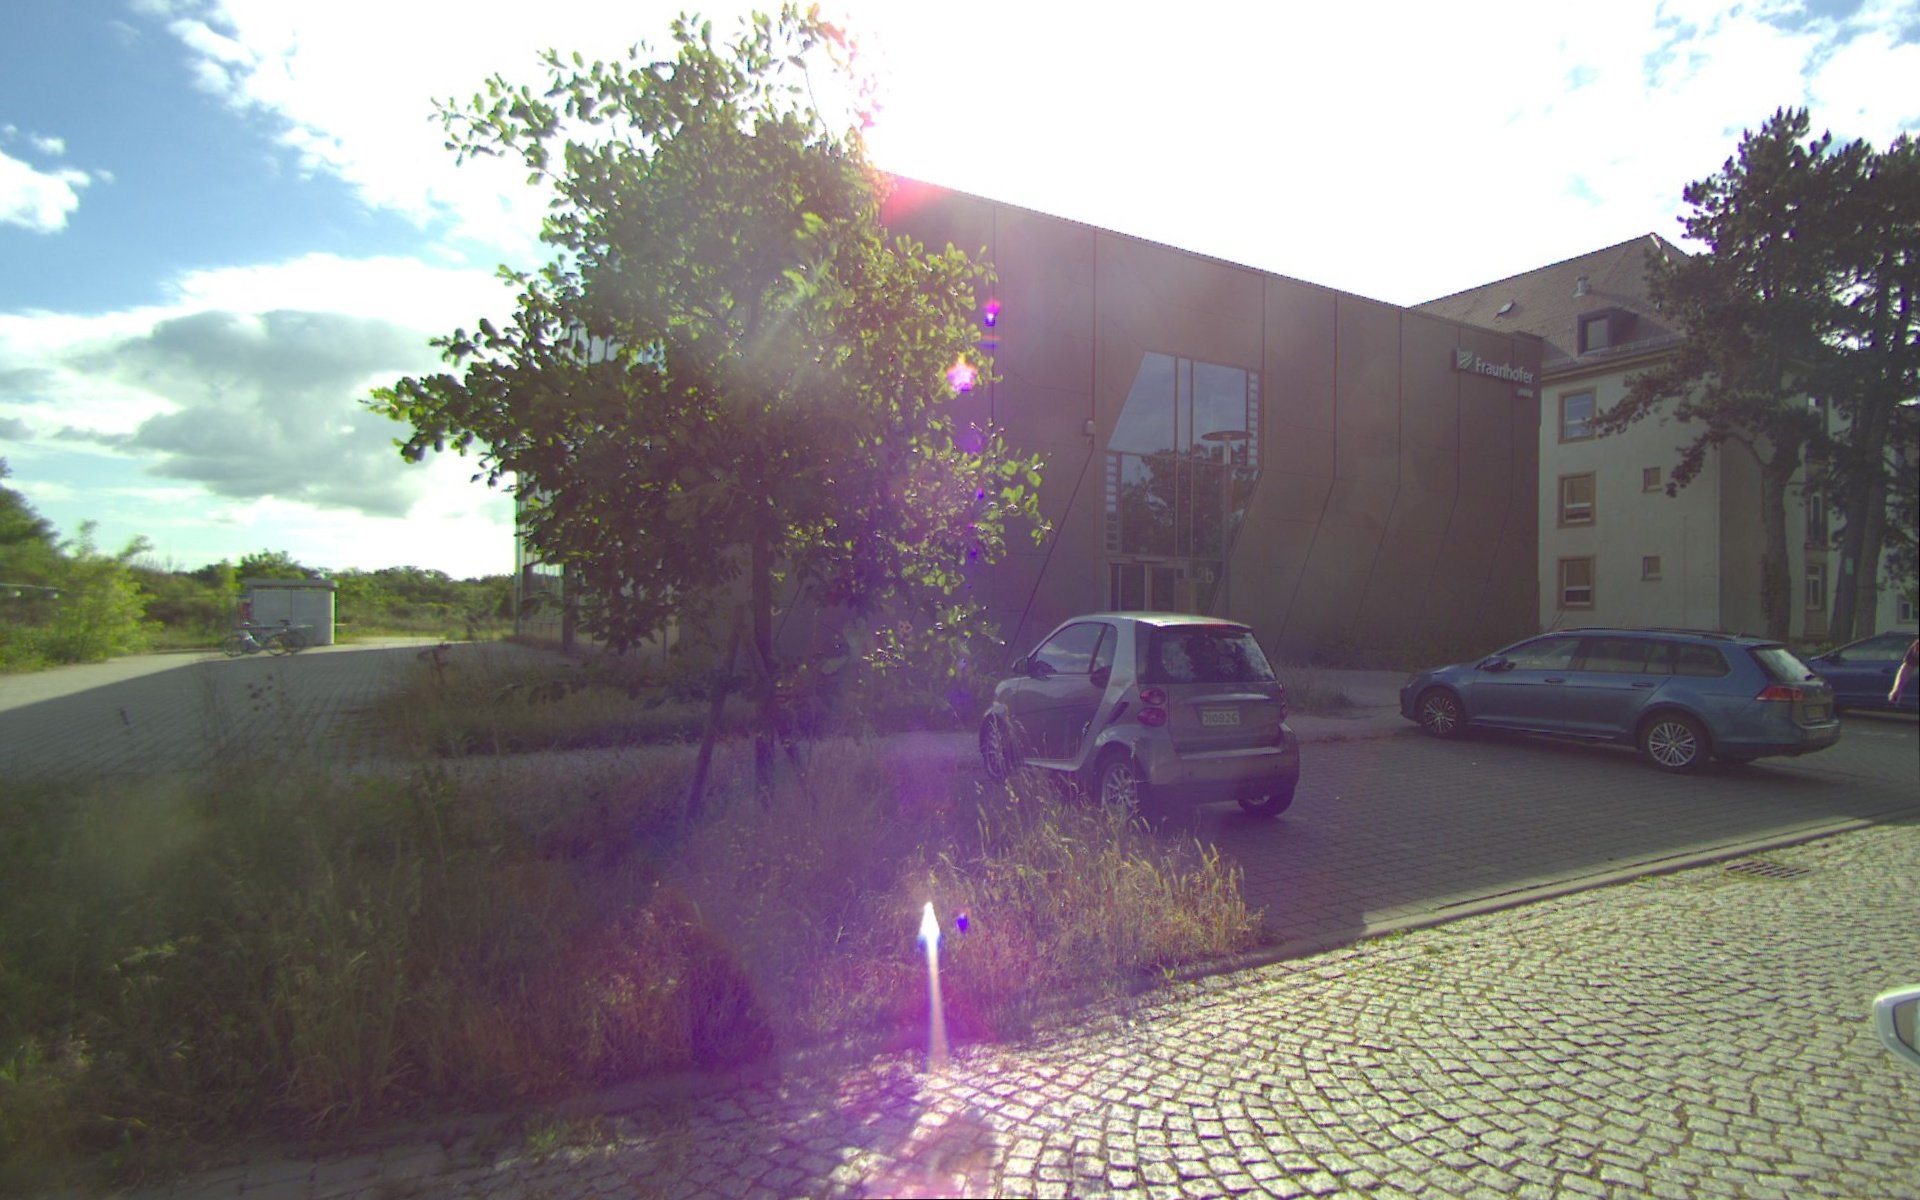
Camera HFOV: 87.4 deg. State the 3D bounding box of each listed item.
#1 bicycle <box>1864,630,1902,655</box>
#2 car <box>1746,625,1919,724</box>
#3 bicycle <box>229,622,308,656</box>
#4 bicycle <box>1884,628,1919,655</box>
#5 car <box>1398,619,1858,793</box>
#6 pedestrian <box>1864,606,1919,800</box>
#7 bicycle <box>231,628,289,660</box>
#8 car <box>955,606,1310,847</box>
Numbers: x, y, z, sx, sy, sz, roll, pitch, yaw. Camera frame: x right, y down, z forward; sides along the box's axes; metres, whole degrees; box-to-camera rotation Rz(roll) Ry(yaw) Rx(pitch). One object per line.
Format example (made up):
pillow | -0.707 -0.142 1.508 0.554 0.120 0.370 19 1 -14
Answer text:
bicycle | 50.754 2.329 55.231 2.524 1.298 0.822 1 -1 -30
car | 15.731 1.235 16.718 1.698 1.483 3.820 1 0 -28
bicycle | -21.842 1.221 31.787 1.942 0.982 0.837 -1 0 -27
bicycle | 51.384 2.249 54.708 2.524 1.456 0.822 1 -1 -30
car | 7.581 1.059 11.876 1.662 1.484 4.233 -1 2 -32
pedestrian | 9.383 0.964 9.637 1.141 1.795 0.799 1 -1 -34
bicycle | -20.788 1.295 29.857 1.339 0.912 0.515 -1 0 -27
car | 1.288 0.873 8.305 1.501 1.563 2.685 1 0 -30
